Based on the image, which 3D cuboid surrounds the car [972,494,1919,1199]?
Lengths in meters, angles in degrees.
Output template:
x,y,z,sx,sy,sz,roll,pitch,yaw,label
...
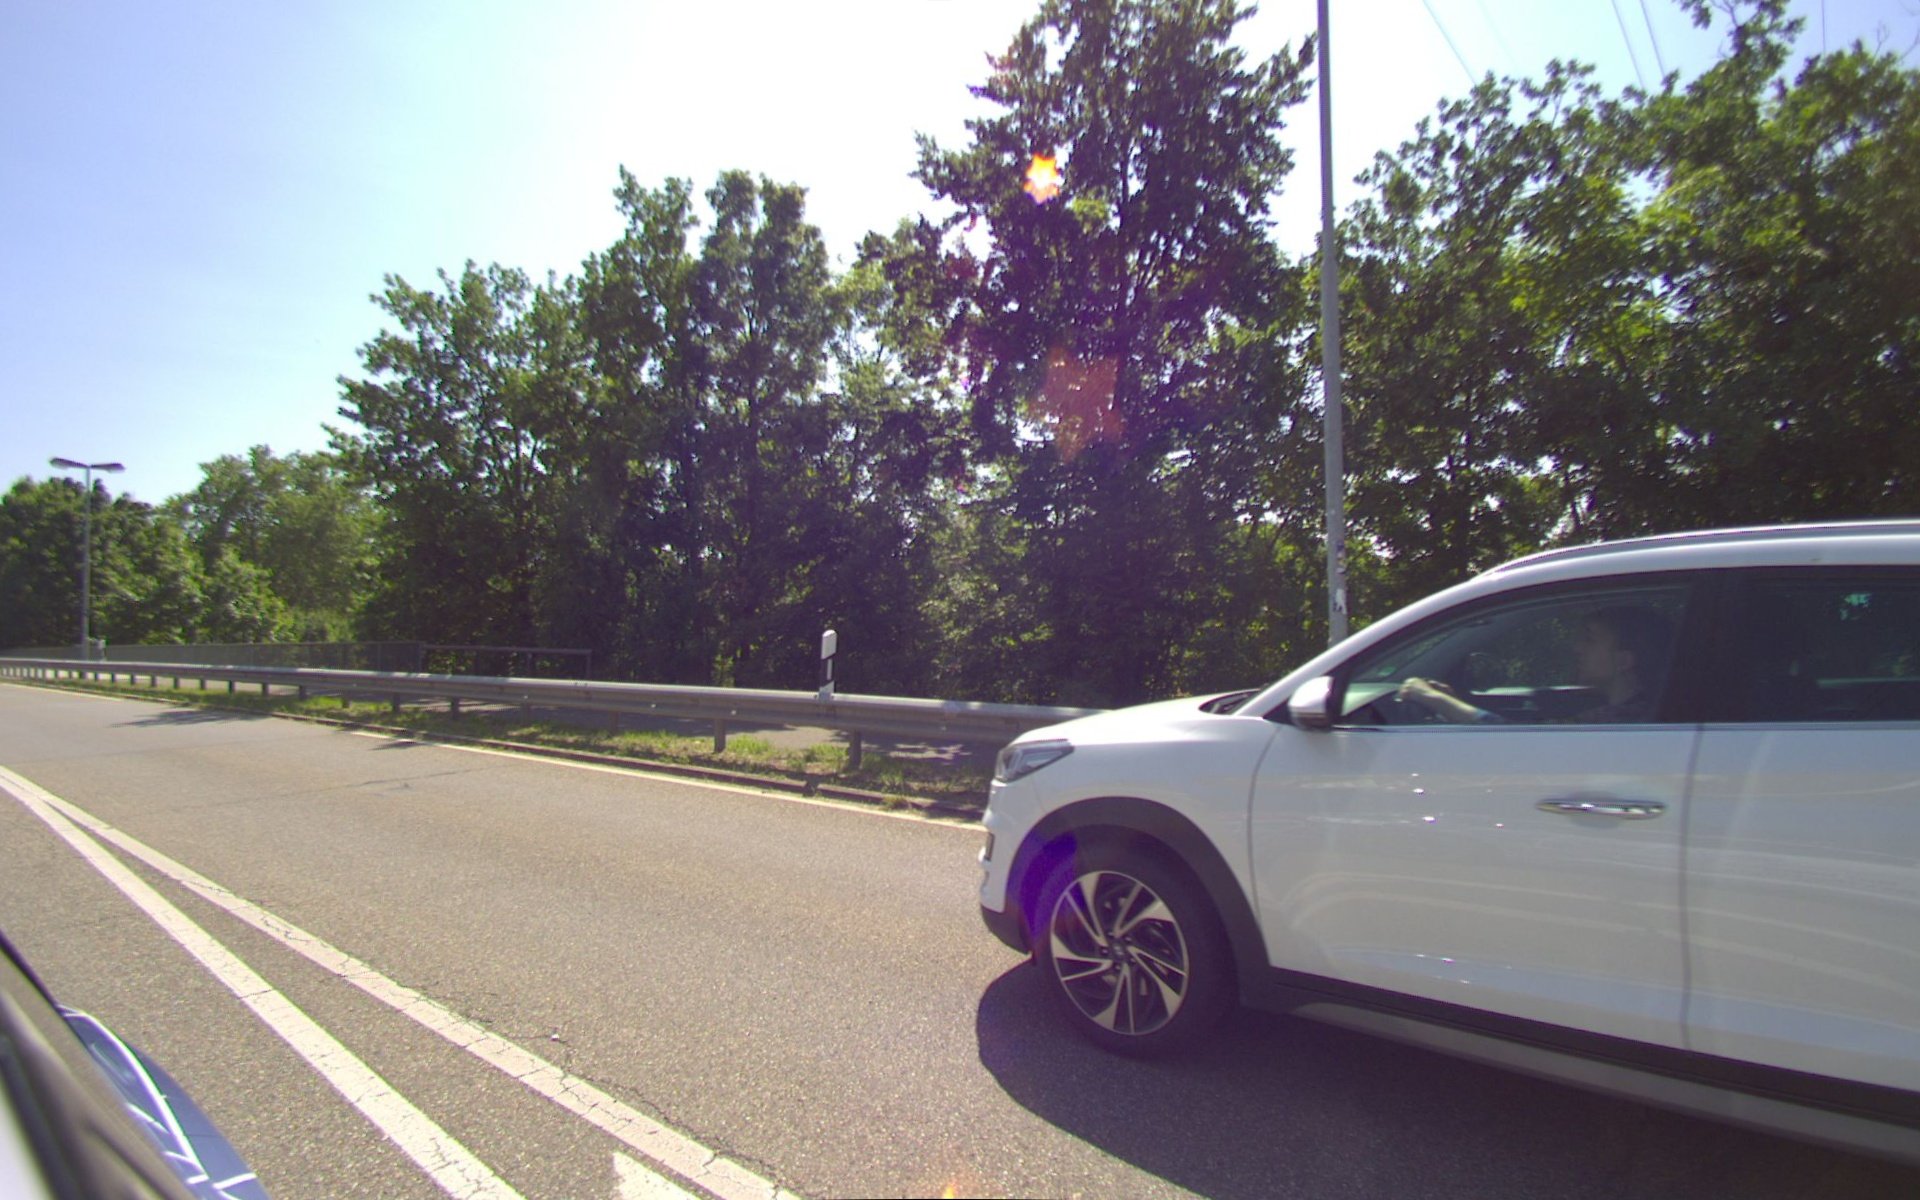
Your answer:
x,y,z,sx,sy,sz,roll,pitch,yaw,label
2.209,0.624,2.989,4.138,1.652,1.805,-2,-1,40,car
